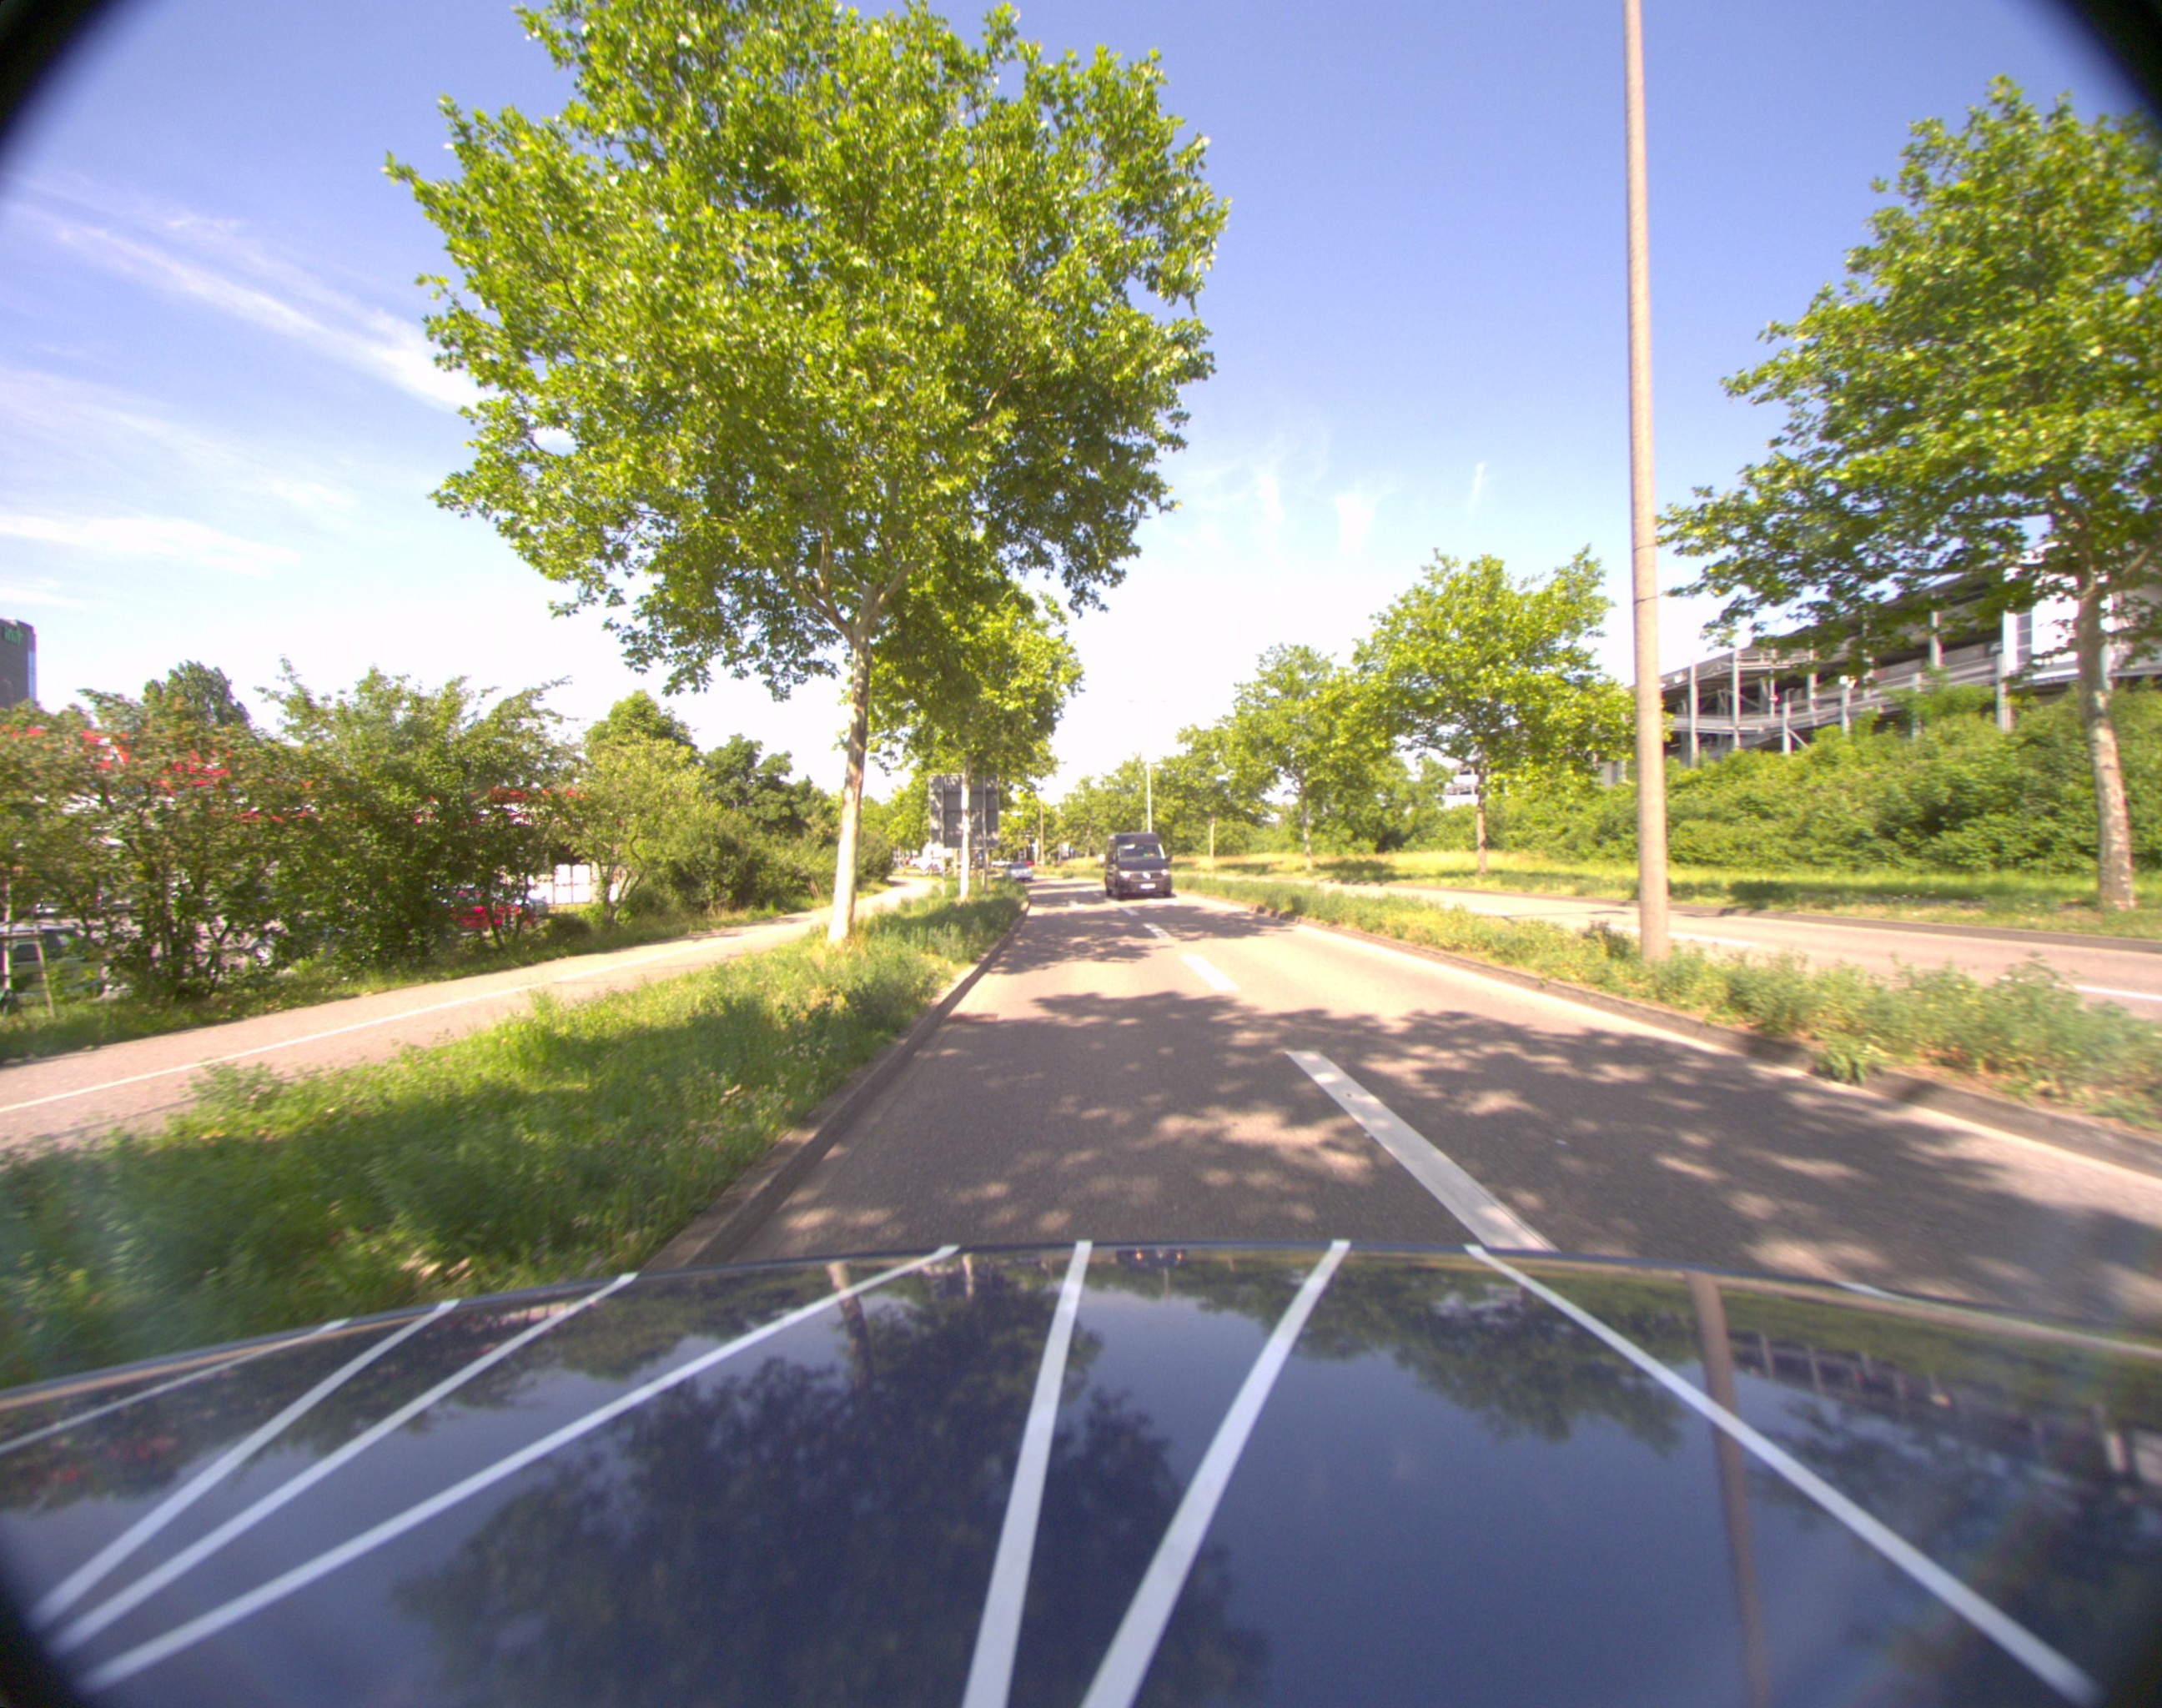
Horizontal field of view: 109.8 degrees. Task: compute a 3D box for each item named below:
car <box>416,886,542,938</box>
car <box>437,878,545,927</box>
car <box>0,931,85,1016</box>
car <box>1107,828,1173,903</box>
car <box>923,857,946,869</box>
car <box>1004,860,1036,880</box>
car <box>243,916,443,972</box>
[{"bbox_3d":[-22.341,2.103,28.369,3.494,1.518,1.597,-3,2,-34],"label":"car"},{"bbox_3d":[-23.541,1.908,30.466,3.243,1.602,1.534,-3,2,-34],"label":"car"},{"bbox_3d":[-18.851,2.020,12.218,3.970,1.218,1.195,-3,1,-1],"label":"car"},{"bbox_3d":[2.206,0.381,30.075,2.021,2.592,6.167,-2,0,0],"label":"car"},{"bbox_3d":[-24.576,1.533,127.601,2.003,2.002,4.505,-3,0,-35],"label":"car"},{"bbox_3d":[-4.955,1.239,61.105,1.826,1.512,4.203,-2,0,-14],"label":"car"},{"bbox_3d":[-19.460,2.358,20.153,3.590,1.216,1.741,-1,1,0],"label":"car"}]
